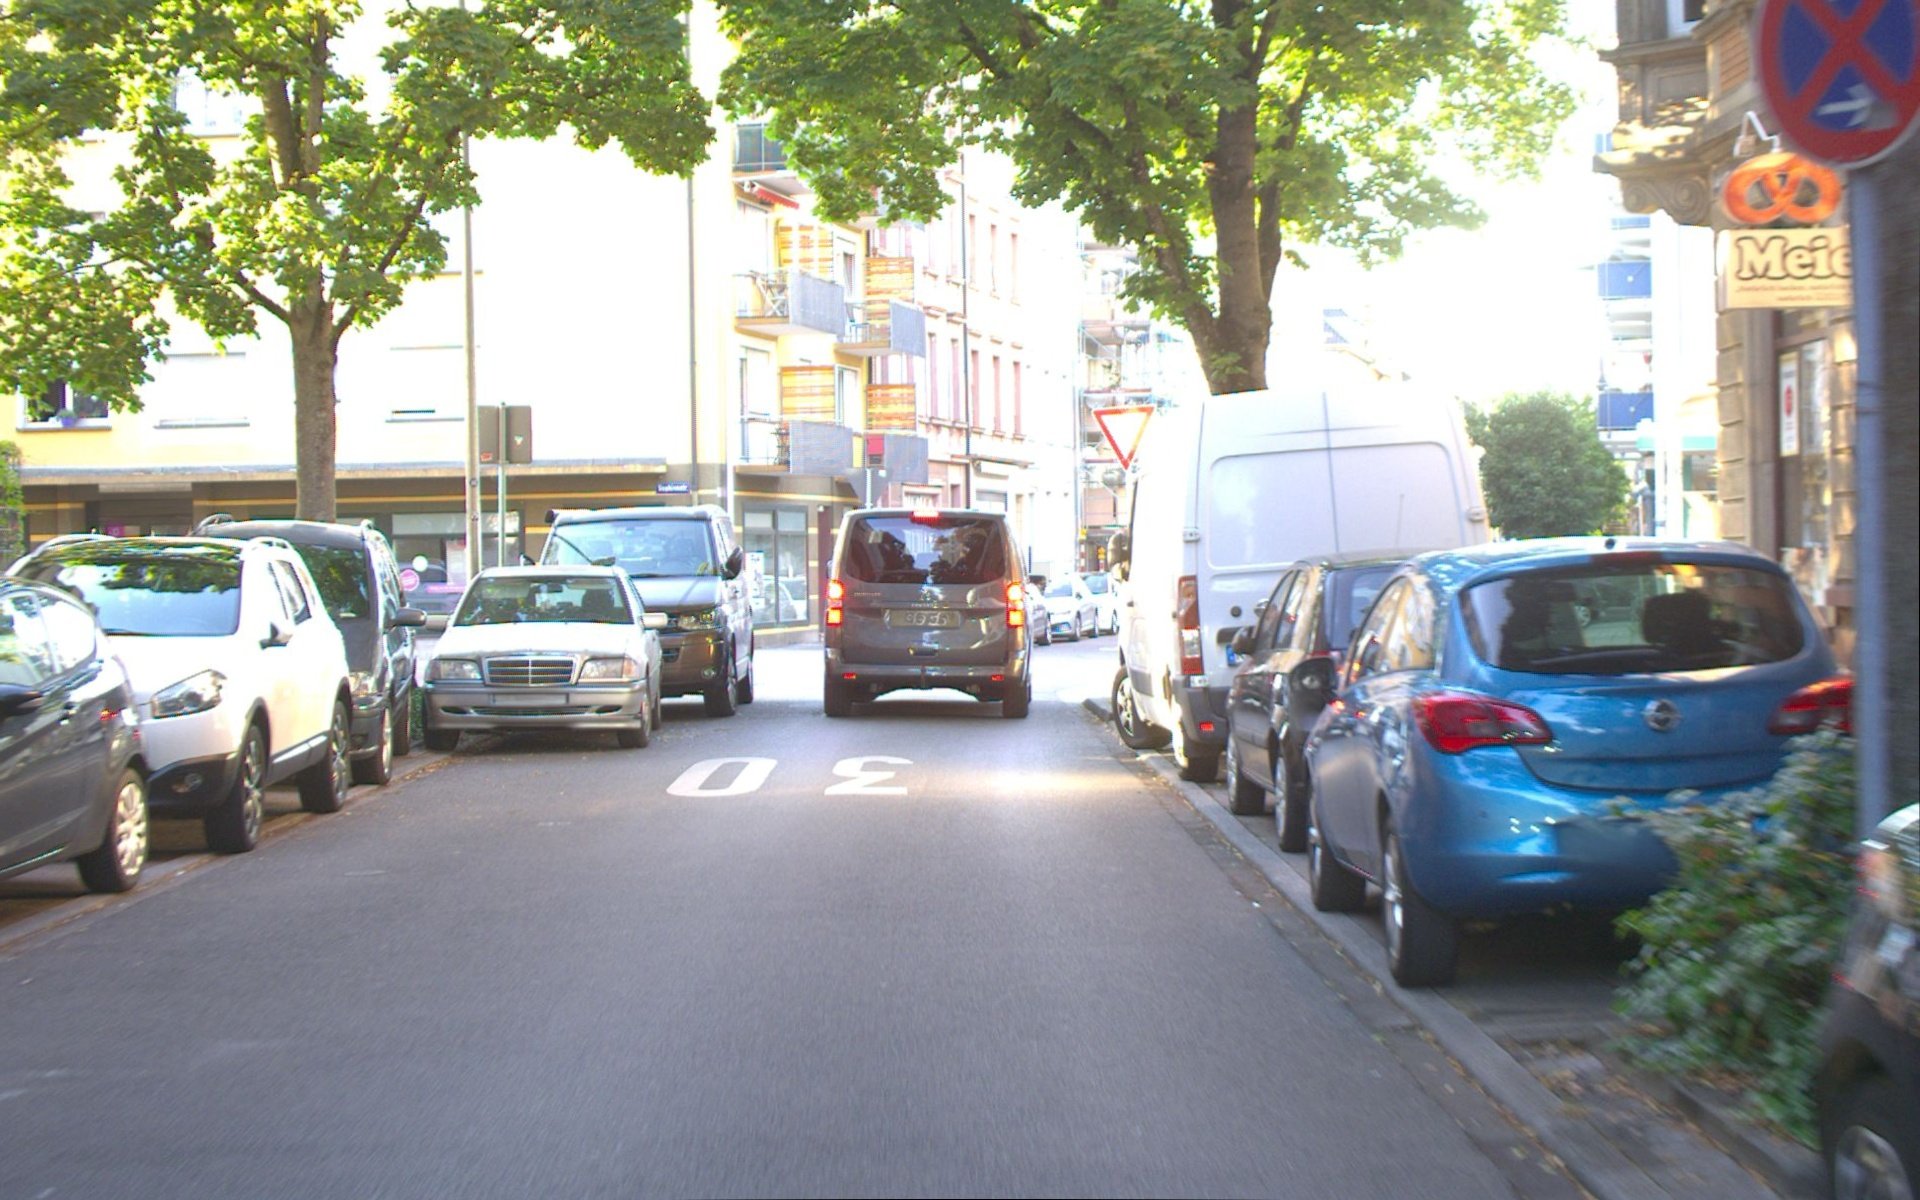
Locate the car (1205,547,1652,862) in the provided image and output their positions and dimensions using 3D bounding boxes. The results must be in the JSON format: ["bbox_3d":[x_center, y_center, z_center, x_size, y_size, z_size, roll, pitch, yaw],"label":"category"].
[{"bbox_3d":[2.340,0.461,18.055,1.750,1.466,3.776,0,1,-1],"label":"car"}]

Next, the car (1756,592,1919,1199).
[{"bbox_3d":[2.357,0.705,4.116,1.715,1.398,3.814,-1,1,-3],"label":"car"}]

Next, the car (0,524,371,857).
[{"bbox_3d":[-4.562,0.407,19.108,1.897,1.631,4.156,1,1,-1],"label":"car"}]

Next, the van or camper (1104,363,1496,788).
[{"bbox_3d":[2.199,-0.196,23.771,1.993,2.590,5.425,0,1,-2],"label":"van or camper"}]

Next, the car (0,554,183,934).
[{"bbox_3d":[-4.628,0.556,14.274,1.740,1.479,3.839,1,1,3],"label":"car"}]

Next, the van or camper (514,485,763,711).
[{"bbox_3d":[-2.987,-0.051,32.760,1.862,1.976,4.271,-1,1,1],"label":"van or camper"}]

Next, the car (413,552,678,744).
[{"bbox_3d":[-3.269,0.339,27.662,1.741,1.399,3.375,-1,1,-1],"label":"car"}]

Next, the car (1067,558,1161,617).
[{"bbox_3d":[3.872,-0.323,85.888,1.796,1.415,3.746,0,1,11],"label":"car"}]

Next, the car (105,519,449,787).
[{"bbox_3d":[-4.670,0.314,23.933,1.741,1.706,3.375,1,1,-1],"label":"car"}]

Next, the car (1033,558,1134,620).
[{"bbox_3d":[2.948,-0.273,81.180,1.796,1.415,3.746,0,1,11],"label":"car"}]

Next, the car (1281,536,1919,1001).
[{"bbox_3d":[2.249,0.505,12.798,1.750,1.466,3.776,0,1,0],"label":"car"}]

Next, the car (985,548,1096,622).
[{"bbox_3d":[1.794,-0.346,75.561,1.796,1.573,3.746,0,1,11],"label":"car"}]

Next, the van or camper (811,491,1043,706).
[{"bbox_3d":[-0.242,-0.047,32.460,2.035,1.891,4.271,0,1,1],"label":"van or camper"}]
